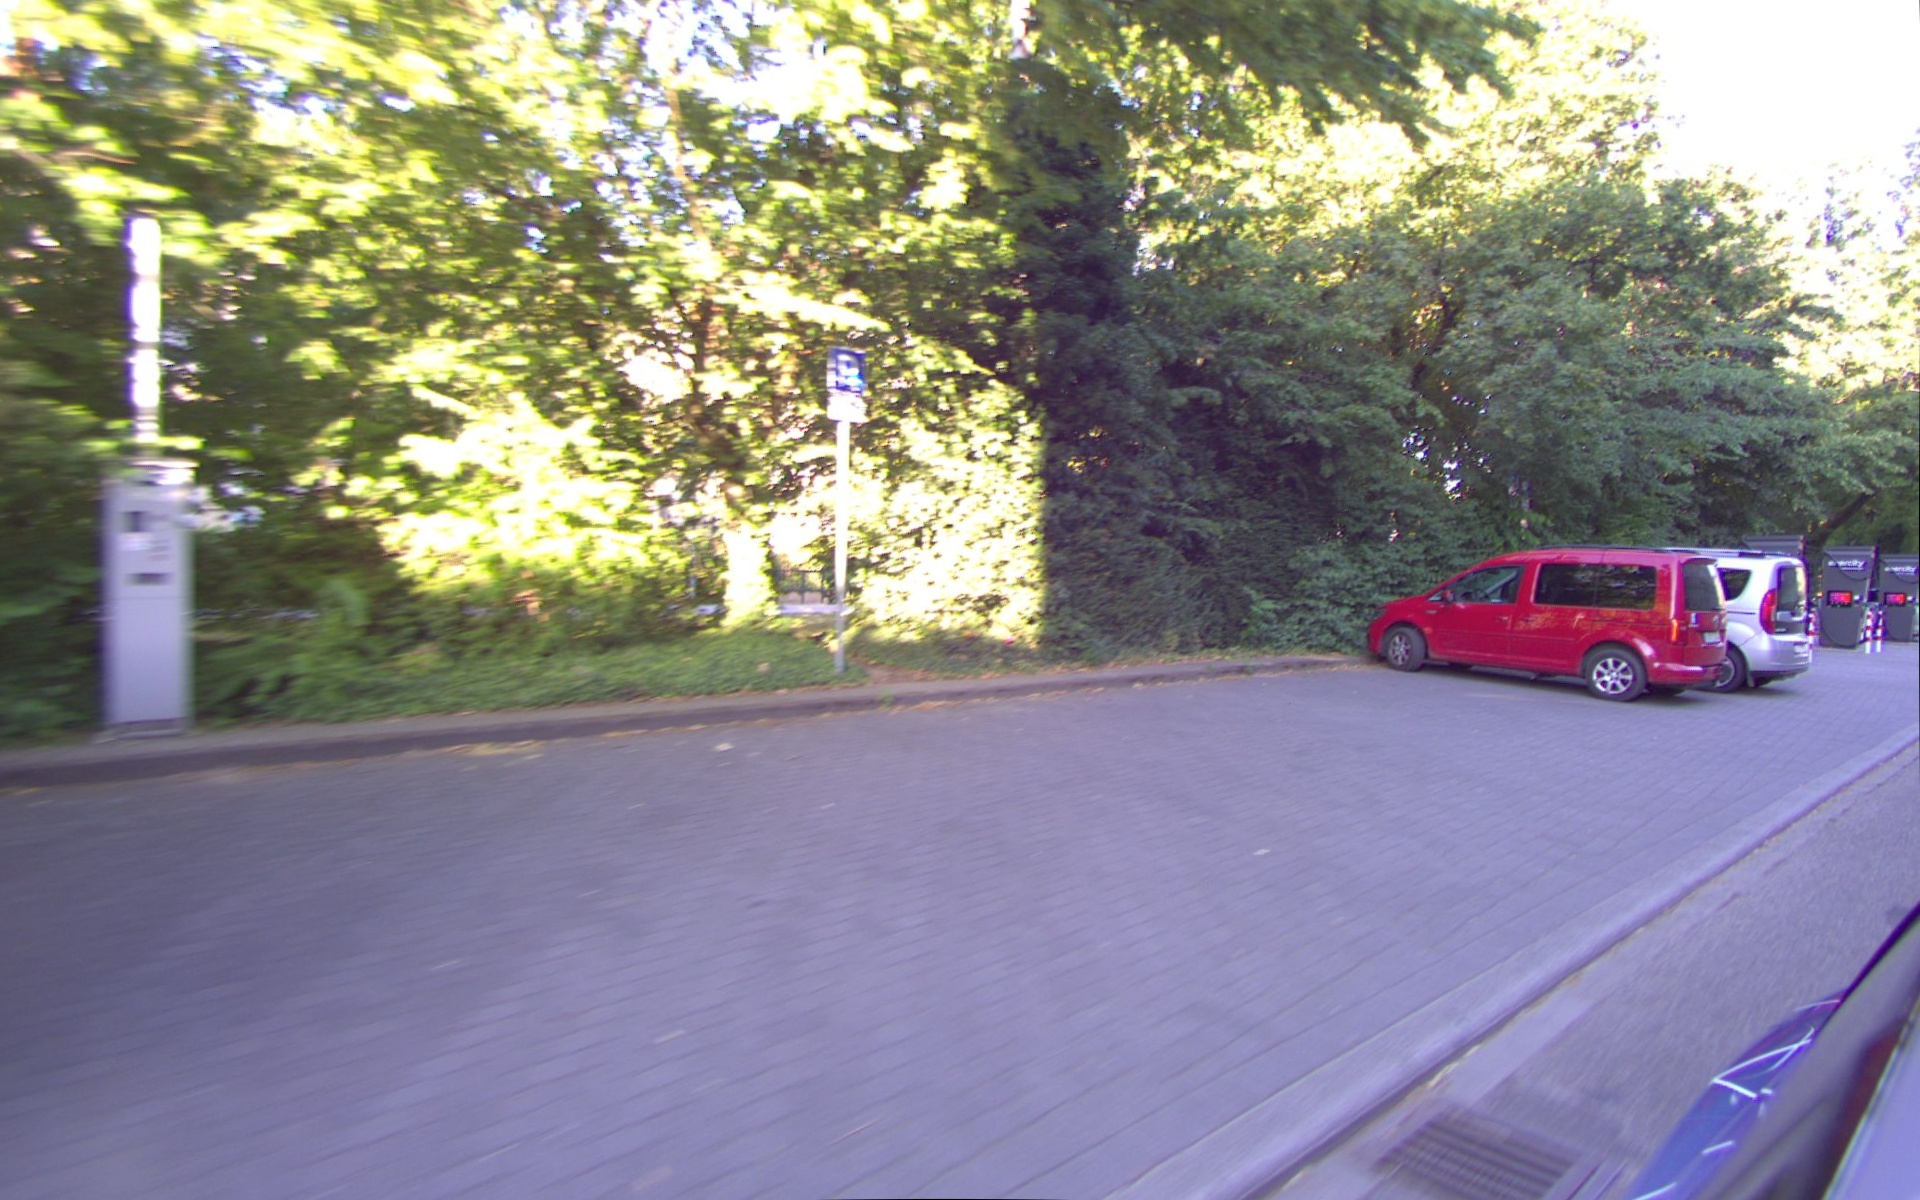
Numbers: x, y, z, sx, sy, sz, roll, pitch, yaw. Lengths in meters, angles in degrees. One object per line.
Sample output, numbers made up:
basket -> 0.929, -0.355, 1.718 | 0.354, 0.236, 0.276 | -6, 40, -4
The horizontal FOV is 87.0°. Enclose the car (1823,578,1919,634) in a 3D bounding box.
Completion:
car -> 27.096, 0.192, 28.131 | 1.679, 1.484, 4.446 | 0, 3, -37

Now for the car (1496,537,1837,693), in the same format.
car -> 10.088, 0.101, 14.682 | 1.750, 1.906, 3.614 | 0, 4, -36

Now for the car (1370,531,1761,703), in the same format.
car -> 7.855, 0.079, 13.487 | 1.883, 1.885, 3.987 | 0, 4, -35
